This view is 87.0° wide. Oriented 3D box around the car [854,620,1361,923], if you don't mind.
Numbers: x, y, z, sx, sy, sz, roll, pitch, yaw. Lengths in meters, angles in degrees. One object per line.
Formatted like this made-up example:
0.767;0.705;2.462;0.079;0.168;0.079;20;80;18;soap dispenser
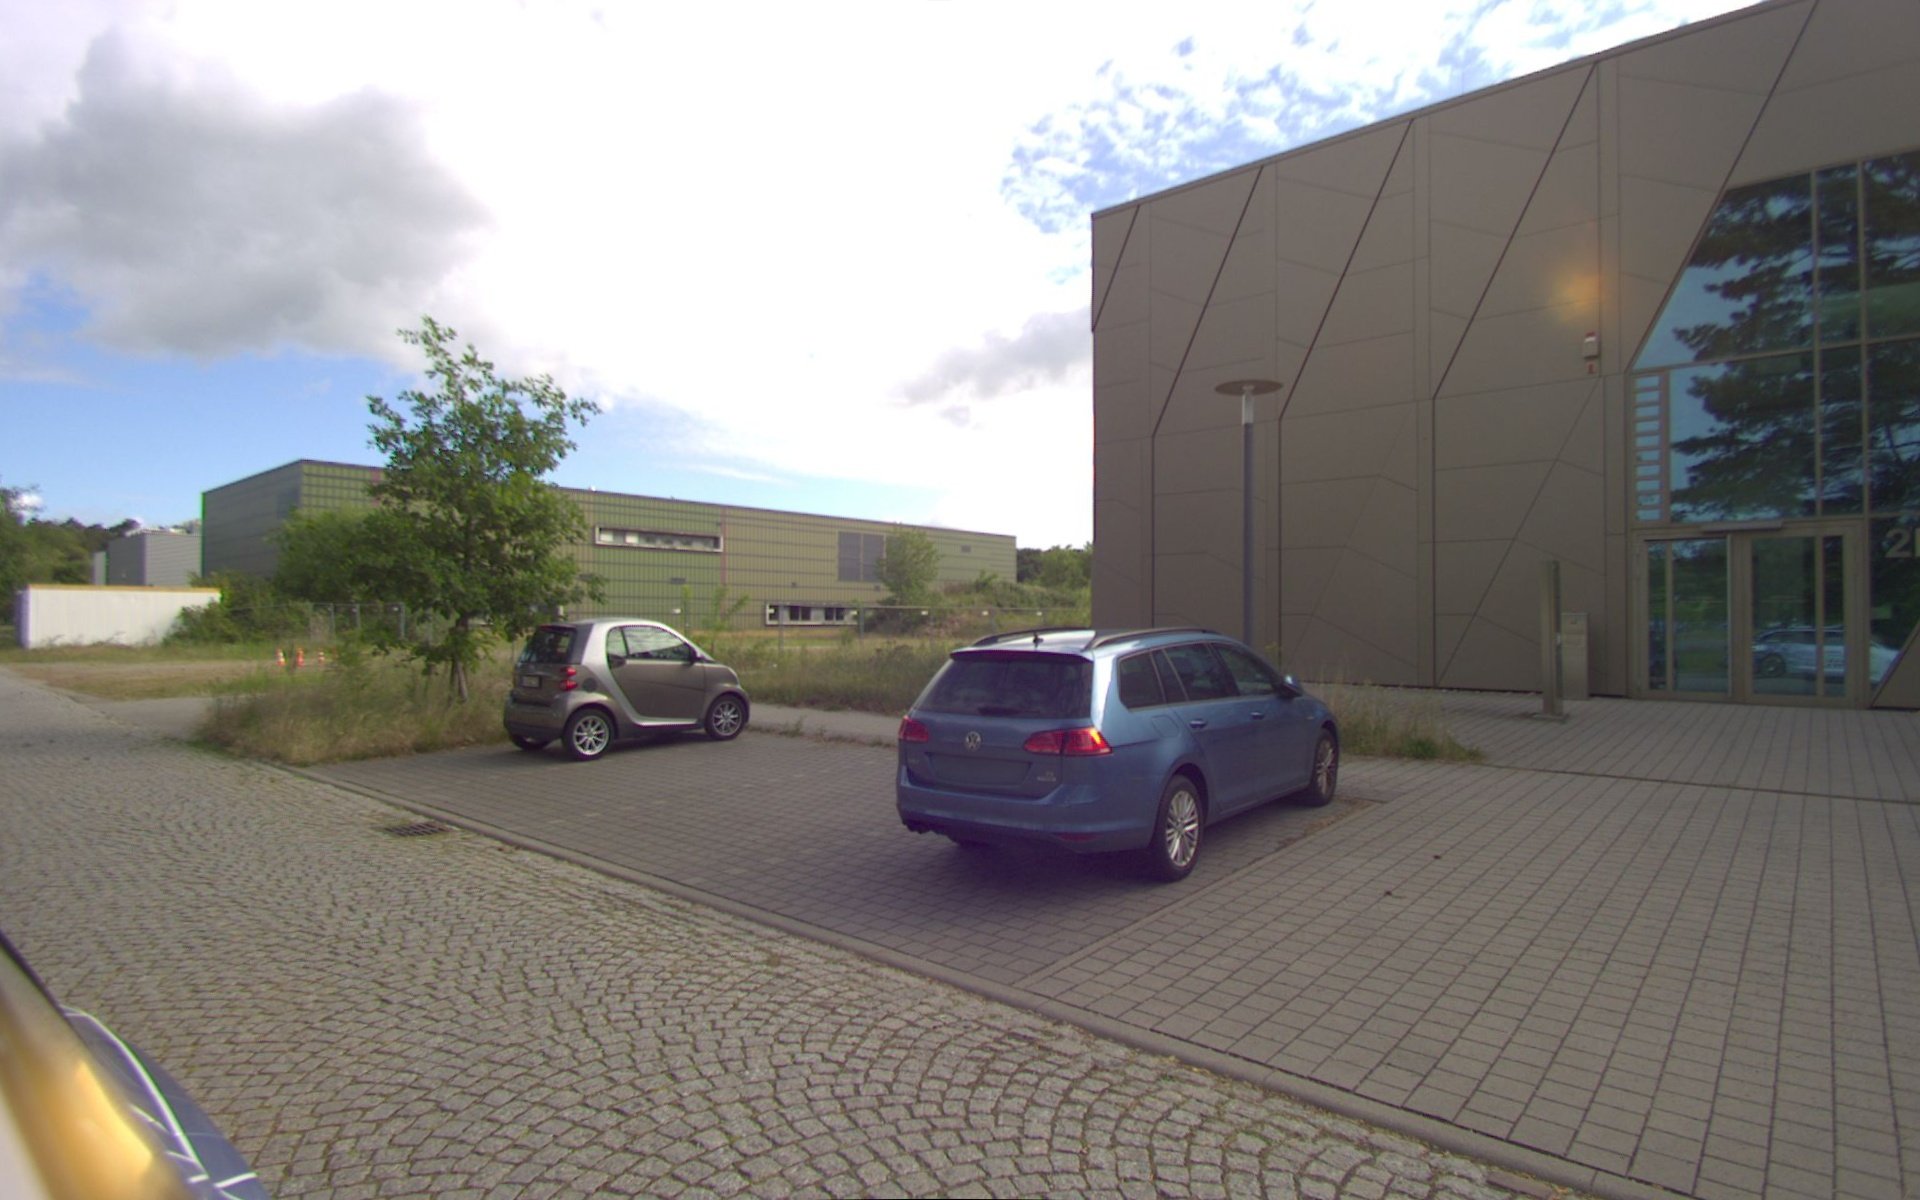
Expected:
1.355;0.908;7.332;1.771;1.439;4.264;-1;-1;38;car

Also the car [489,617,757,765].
-4.021;0.994;12.244;1.609;1.523;2.627;-1;-1;40;car
